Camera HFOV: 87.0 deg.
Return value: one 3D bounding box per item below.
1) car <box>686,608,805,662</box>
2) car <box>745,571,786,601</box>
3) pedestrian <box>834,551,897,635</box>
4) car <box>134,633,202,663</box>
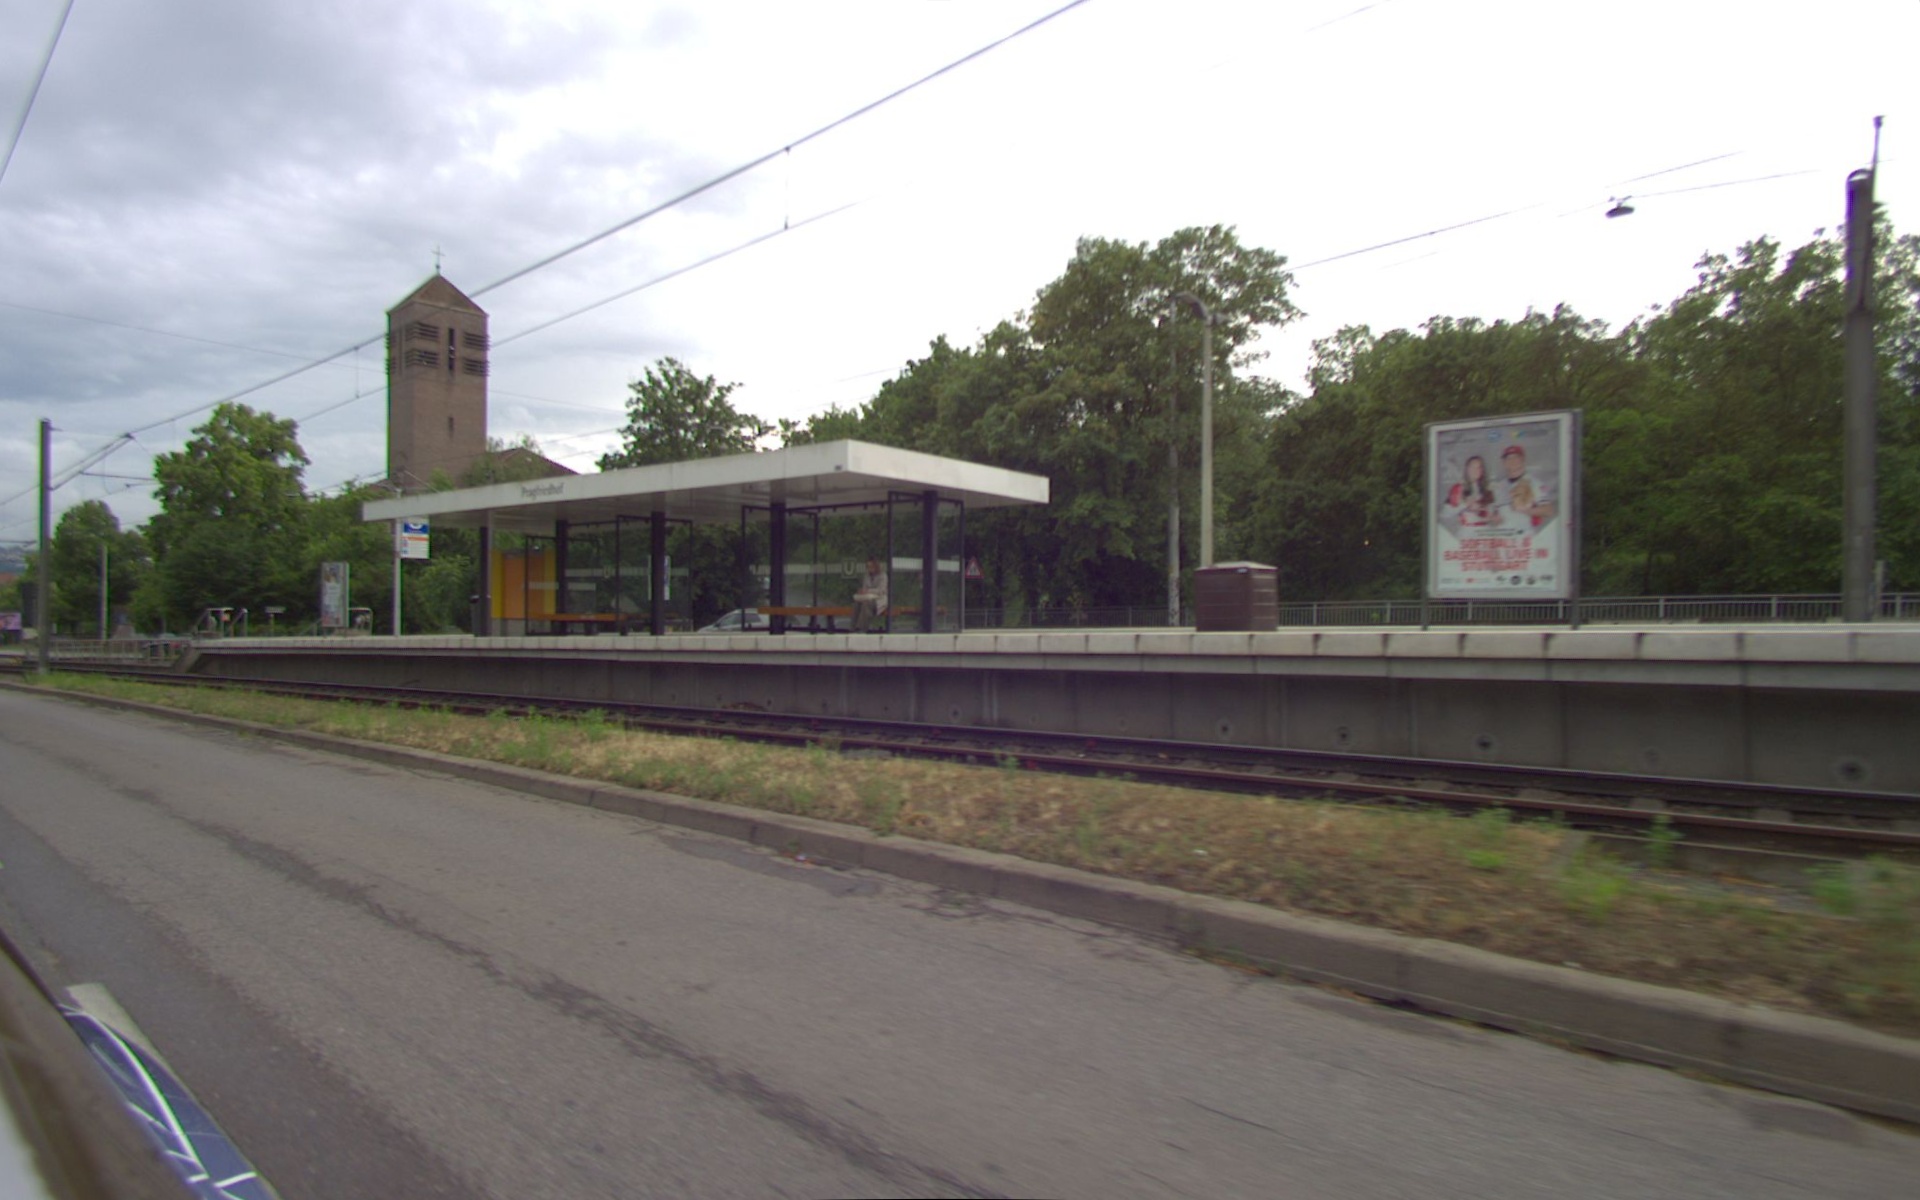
[{"bbox_3d":[-8.106,1.309,38.046,4.513,1.890,1.974,-2,-1,39],"label":"car"},{"bbox_3d":[-13.821,-0.988,71.742,1.965,2.028,4.014,-2,2,-23],"label":"car"},{"bbox_3d":[-1.443,-0.104,15.453,0.619,1.235,0.703,-2,-1,40],"label":"pedestrian"},{"bbox_3d":[-46.101,2.770,58.888,4.509,1.636,1.976,-2,-1,36],"label":"car"}]
